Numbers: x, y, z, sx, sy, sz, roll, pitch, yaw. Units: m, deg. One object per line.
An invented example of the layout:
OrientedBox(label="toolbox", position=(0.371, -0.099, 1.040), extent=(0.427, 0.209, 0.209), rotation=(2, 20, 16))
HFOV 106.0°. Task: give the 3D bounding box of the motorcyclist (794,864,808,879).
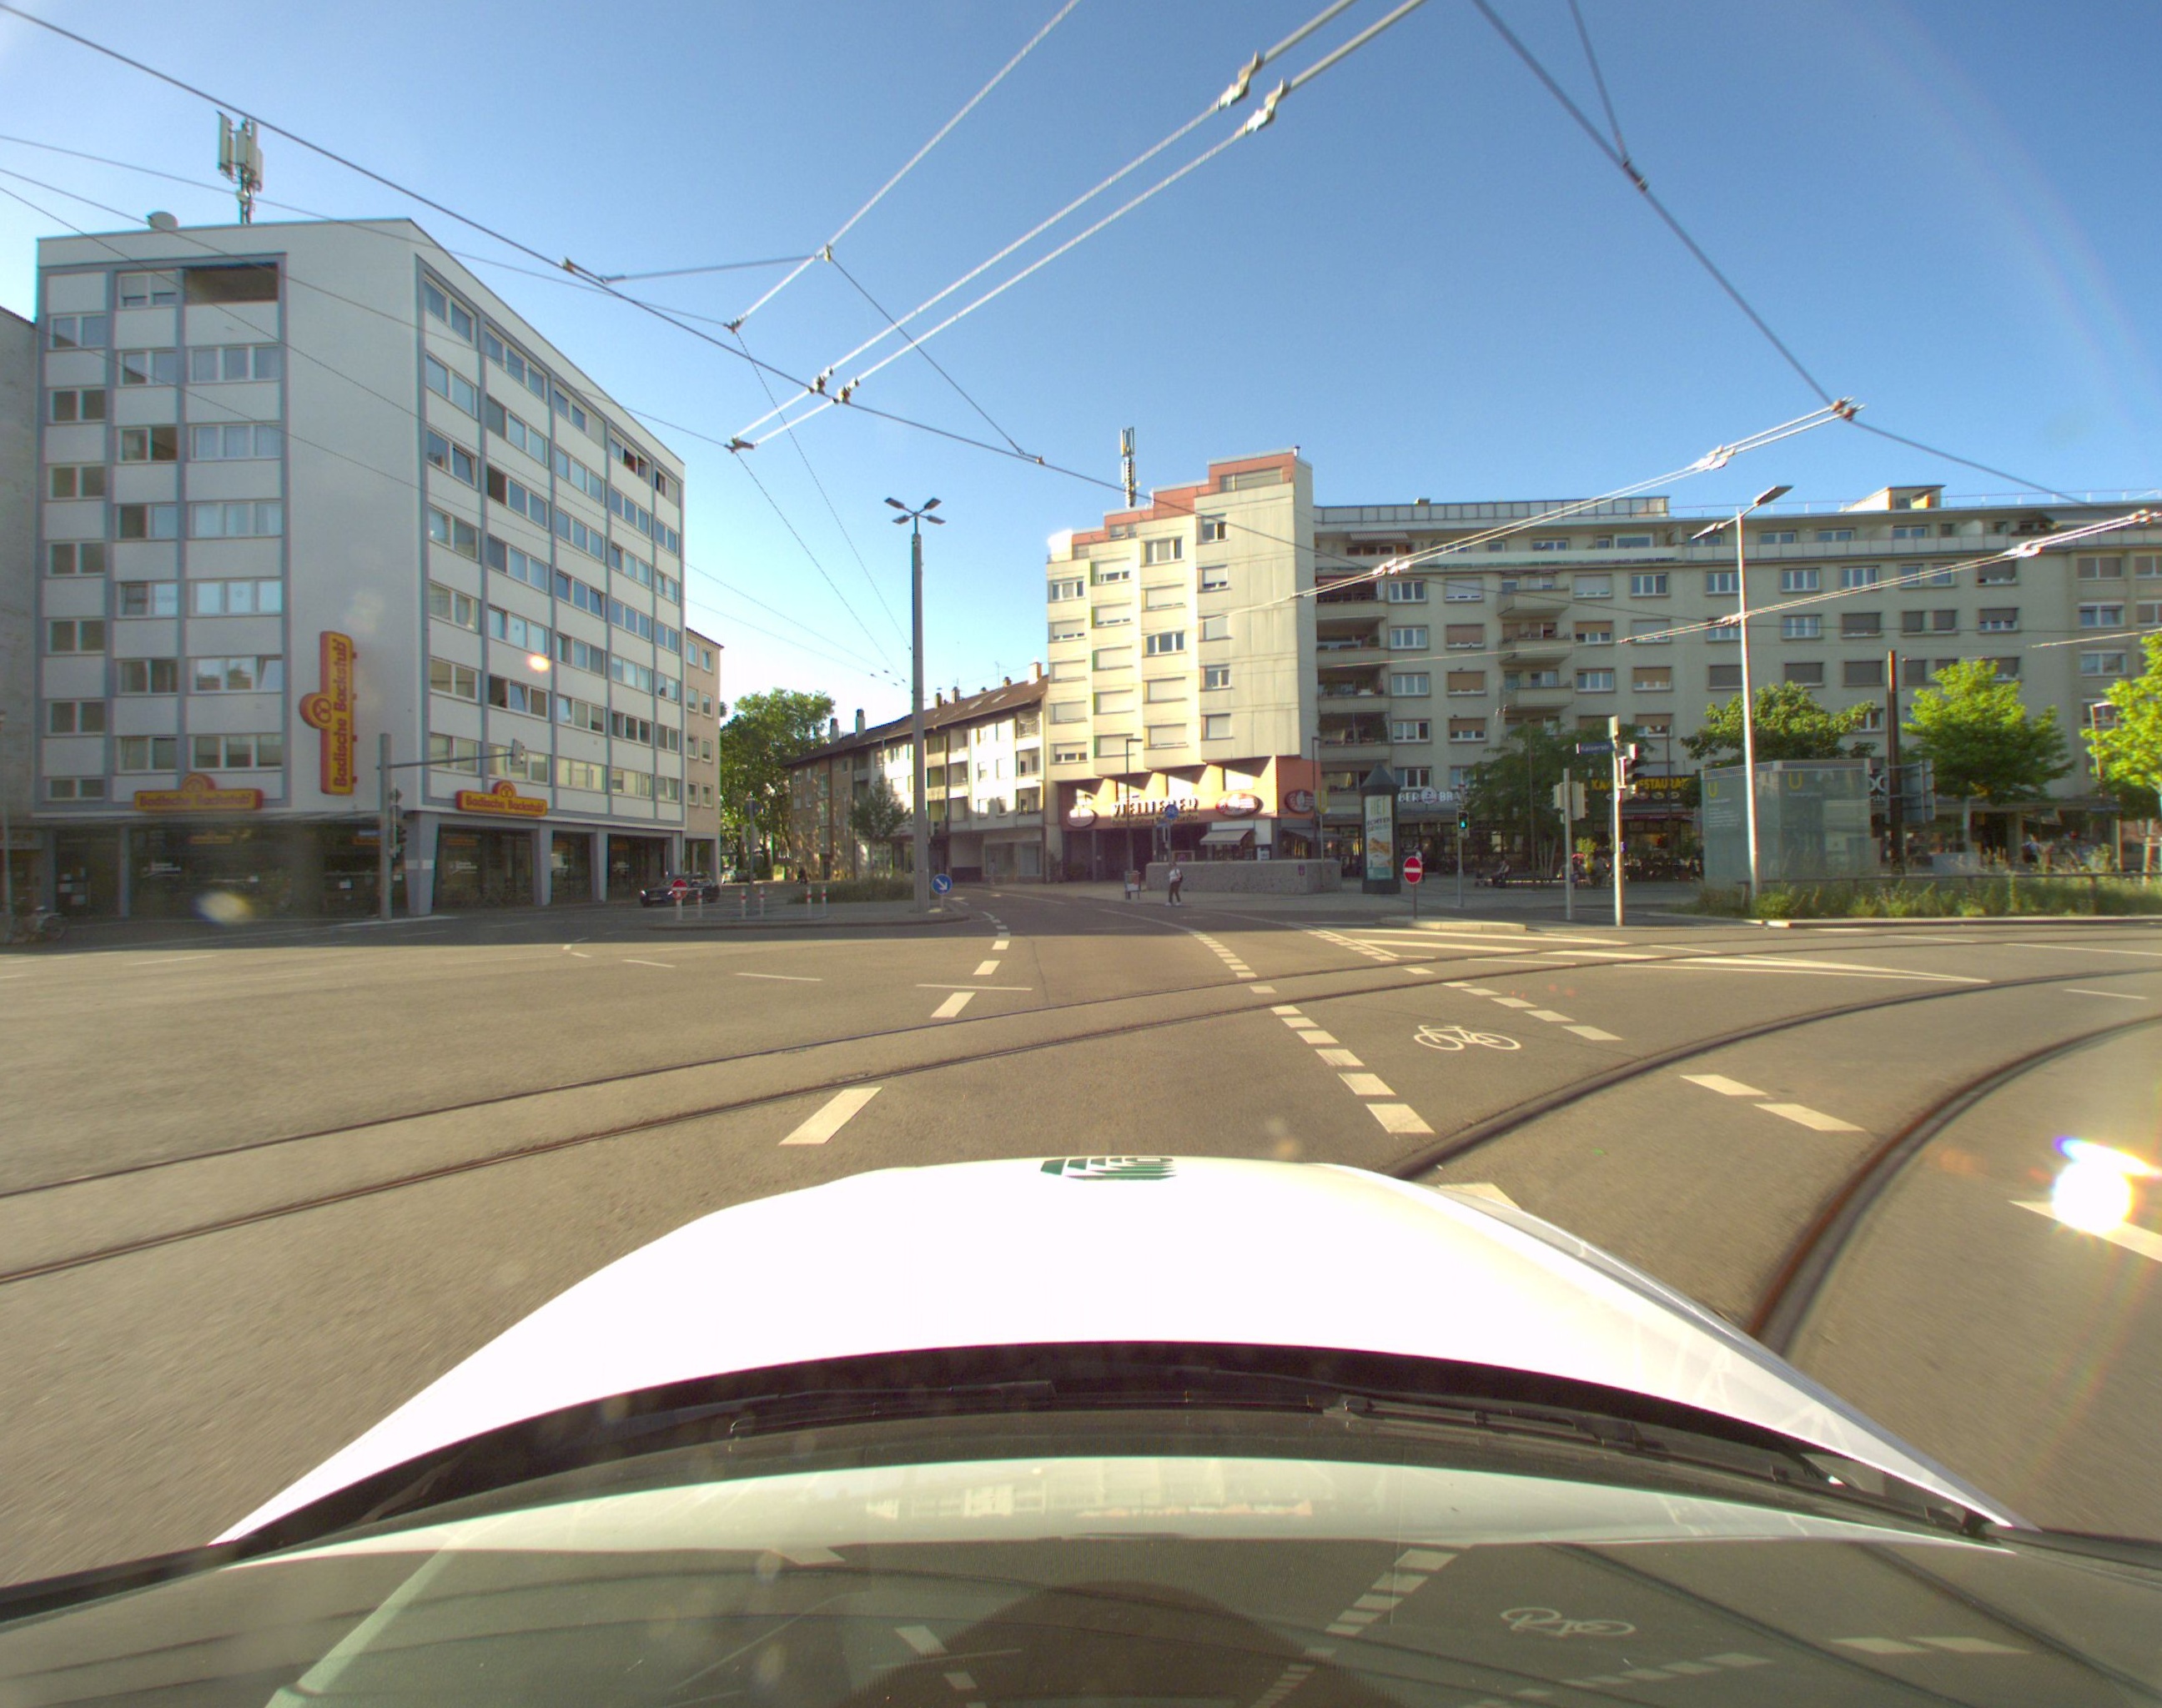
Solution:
OrientedBox(label="motorcyclist", position=(-25.045, 1.569, 72.789), extent=(0.970, 1.347, 1.134), rotation=(1, -1, -9))

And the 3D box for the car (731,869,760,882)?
OrientedBox(label="car", position=(-41.057, 2.605, 99.586), extent=(2.051, 1.504, 4.044), rotation=(0, -1, -42))

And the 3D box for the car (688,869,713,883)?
OrientedBox(label="car", position=(-52.533, 3.046, 112.460), extent=(2.051, 1.759, 4.044), rotation=(0, -1, -42))

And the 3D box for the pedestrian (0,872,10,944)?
OrientedBox(label="pedestrian", position=(-27.263, 1.340, 20.100), extent=(0.625, 1.791, 0.786), rotation=(0, 0, 4))

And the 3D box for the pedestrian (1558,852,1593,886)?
OrientedBox(label="pedestrian", position=(20.582, 0.608, 33.901), extent=(0.717, 1.365, 1.106), rotation=(-1, 0, -5))

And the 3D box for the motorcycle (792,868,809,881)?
OrientedBox(label="motorcycle", position=(-25.052, 1.850, 72.847), extent=(0.973, 1.132, 2.796), rotation=(1, -1, -9))

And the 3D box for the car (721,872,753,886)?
OrientedBox(label="car", position=(-36.765, 2.648, 87.010), extent=(1.941, 1.388, 3.950), rotation=(0, -1, -44))

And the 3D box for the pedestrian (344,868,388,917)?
OrientedBox(label="pedestrian", position=(-25.301, 1.346, 28.828), extent=(0.801, 1.724, 0.777), rotation=(-1, -1, 3))

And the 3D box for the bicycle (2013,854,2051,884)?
OrientedBox(label="bicycle", position=(41.570, 0.646, 35.596), extent=(2.224, 1.252, 0.890), rotation=(0, -1, -36))

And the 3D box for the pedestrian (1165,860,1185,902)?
OrientedBox(label="pedestrian", position=(3.648, 1.046, 31.634), extent=(0.544, 1.584, 0.550), rotation=(0, -2, -40))

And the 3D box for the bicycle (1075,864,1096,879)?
OrientedBox(label="bicycle", position=(0.288, 1.221, 57.706), extent=(0.499, 1.038, 1.619), rotation=(0, -1, -42))

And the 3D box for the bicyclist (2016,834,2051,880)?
OrientedBox(label="bicyclist", position=(41.608, 0.134, 35.575), extent=(0.790, 1.949, 0.890), rotation=(0, -1, -36))

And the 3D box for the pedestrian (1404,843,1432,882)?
OrientedBox(label="pedestrian", position=(16.275, 0.420, 39.368), extent=(1.036, 1.866, 0.688), rotation=(-1, -1, 5))

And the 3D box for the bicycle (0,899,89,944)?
OrientedBox(label="bicycle", position=(-28.037, 1.797, 22.052), extent=(0.597, 1.053, 1.991), rotation=(0, -1, -22))

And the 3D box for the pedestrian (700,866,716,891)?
OrientedBox(label="pedestrian", position=(-26.086, 1.733, 56.915), extent=(0.766, 1.724, 0.812), rotation=(-2, -2, 45))

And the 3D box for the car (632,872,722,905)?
OrientedBox(label="car", position=(-18.335, 1.524, 37.222), extent=(1.827, 1.386, 4.595), rotation=(-1, -1, 0))

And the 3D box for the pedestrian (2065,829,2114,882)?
OrientedBox(label="pedestrian", position=(32.430, 0.065, 26.197), extent=(0.750, 1.671, 0.634), rotation=(-1, -1, -2))

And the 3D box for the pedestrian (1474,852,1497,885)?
OrientedBox(label="pedestrian", position=(18.102, 0.631, 36.446), extent=(0.711, 1.446, 0.935), rotation=(-1, -1, 38))

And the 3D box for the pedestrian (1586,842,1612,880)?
OrientedBox(label="pedestrian", position=(24.099, 0.320, 37.872), extent=(0.680, 1.746, 0.716), rotation=(-1, -1, -7))

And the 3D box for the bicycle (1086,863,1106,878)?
OrientedBox(label="bicycle", position=(1.064, 1.210, 58.093), extent=(0.499, 1.038, 1.619), rotation=(0, -1, -42))

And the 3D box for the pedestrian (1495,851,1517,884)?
OrientedBox(label="pedestrian", position=(18.565, 0.575, 35.571), extent=(0.711, 1.420, 0.935), rotation=(-1, -1, 35))

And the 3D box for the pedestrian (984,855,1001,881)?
OrientedBox(label="pedestrian", position=(-6.445, 1.033, 59.114), extent=(0.738, 1.854, 0.937), rotation=(-3, 0, -42))
